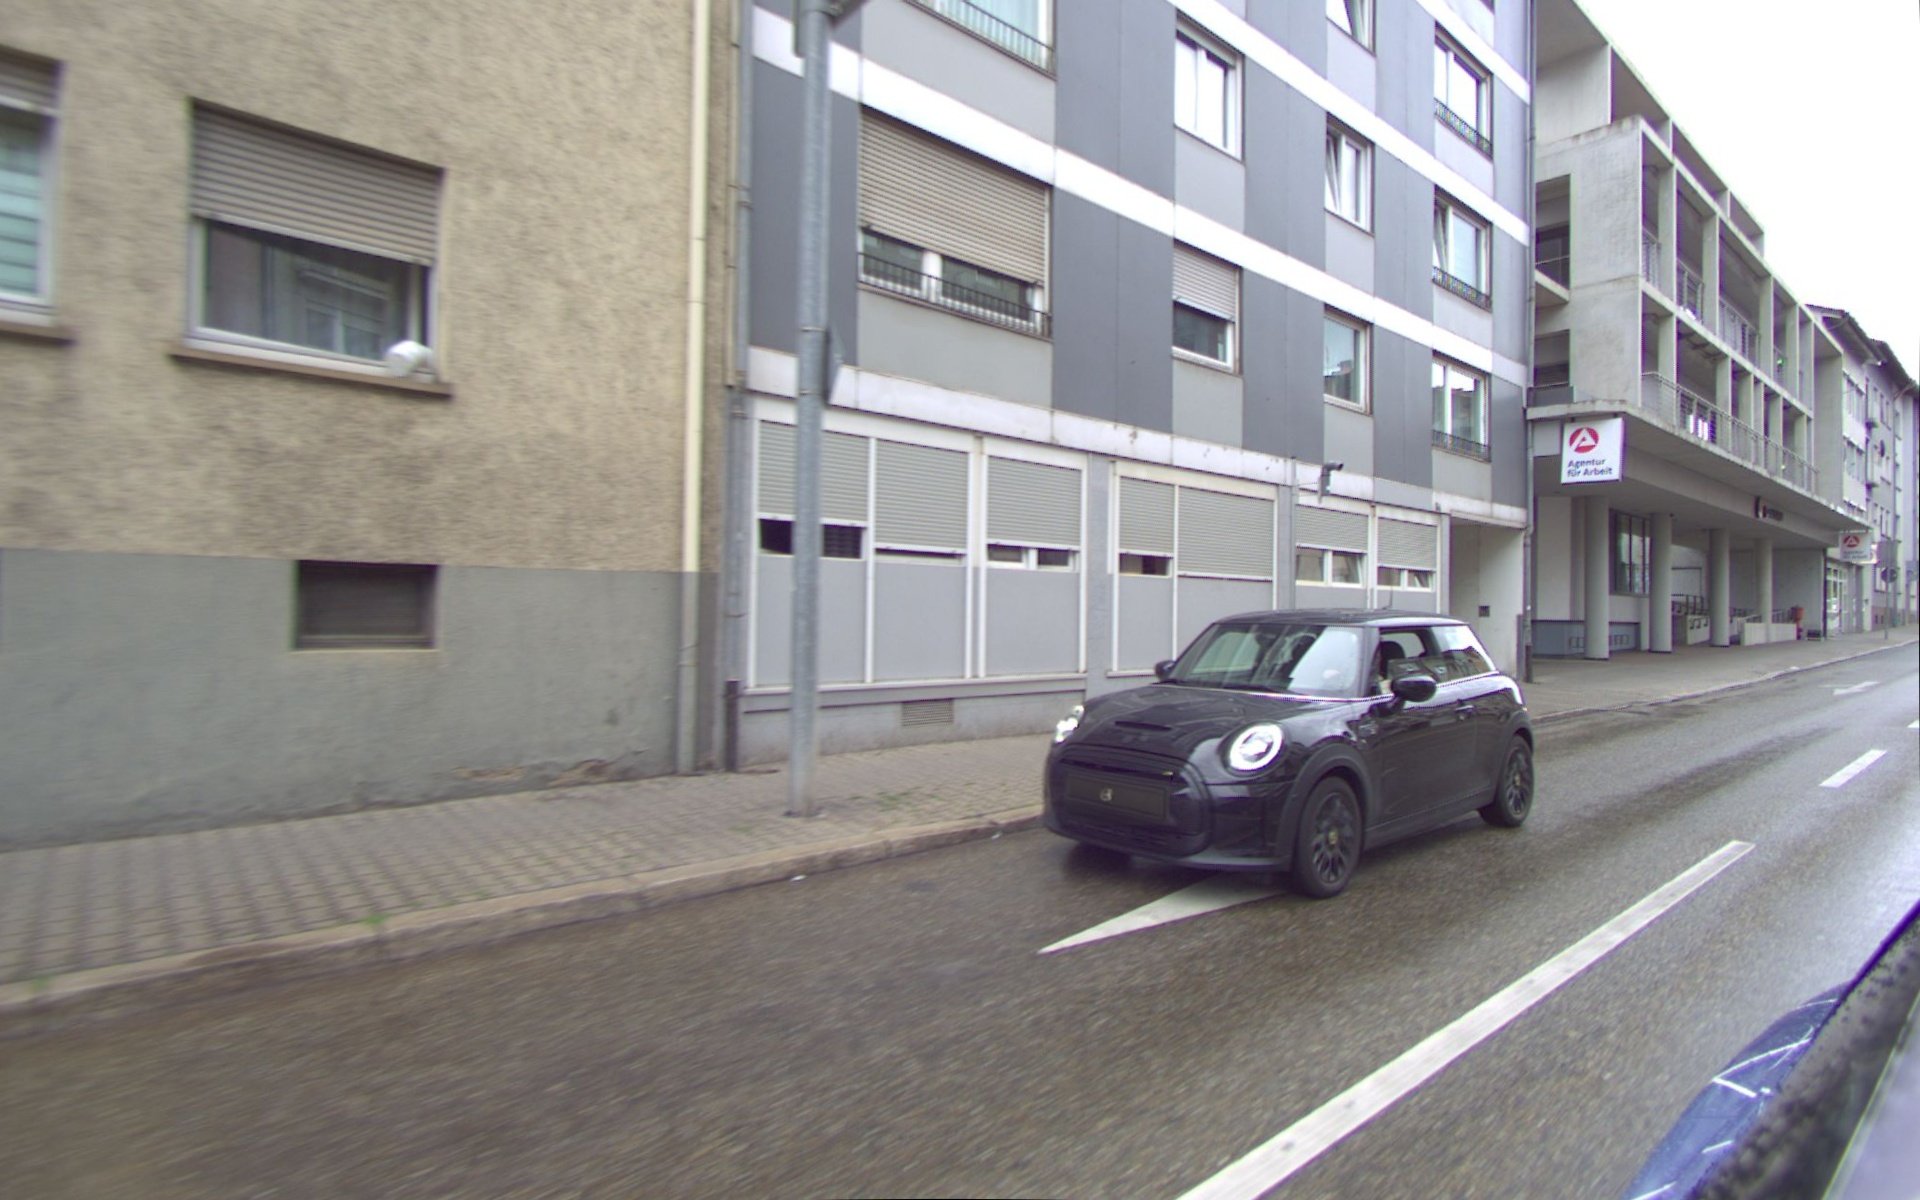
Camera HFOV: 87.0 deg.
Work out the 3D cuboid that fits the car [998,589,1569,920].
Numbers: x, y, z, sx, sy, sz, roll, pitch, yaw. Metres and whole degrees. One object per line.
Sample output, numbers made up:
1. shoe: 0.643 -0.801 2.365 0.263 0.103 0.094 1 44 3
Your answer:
1. car: 2.252 0.670 6.417 4.003 1.438 1.662 -1 0 -42
